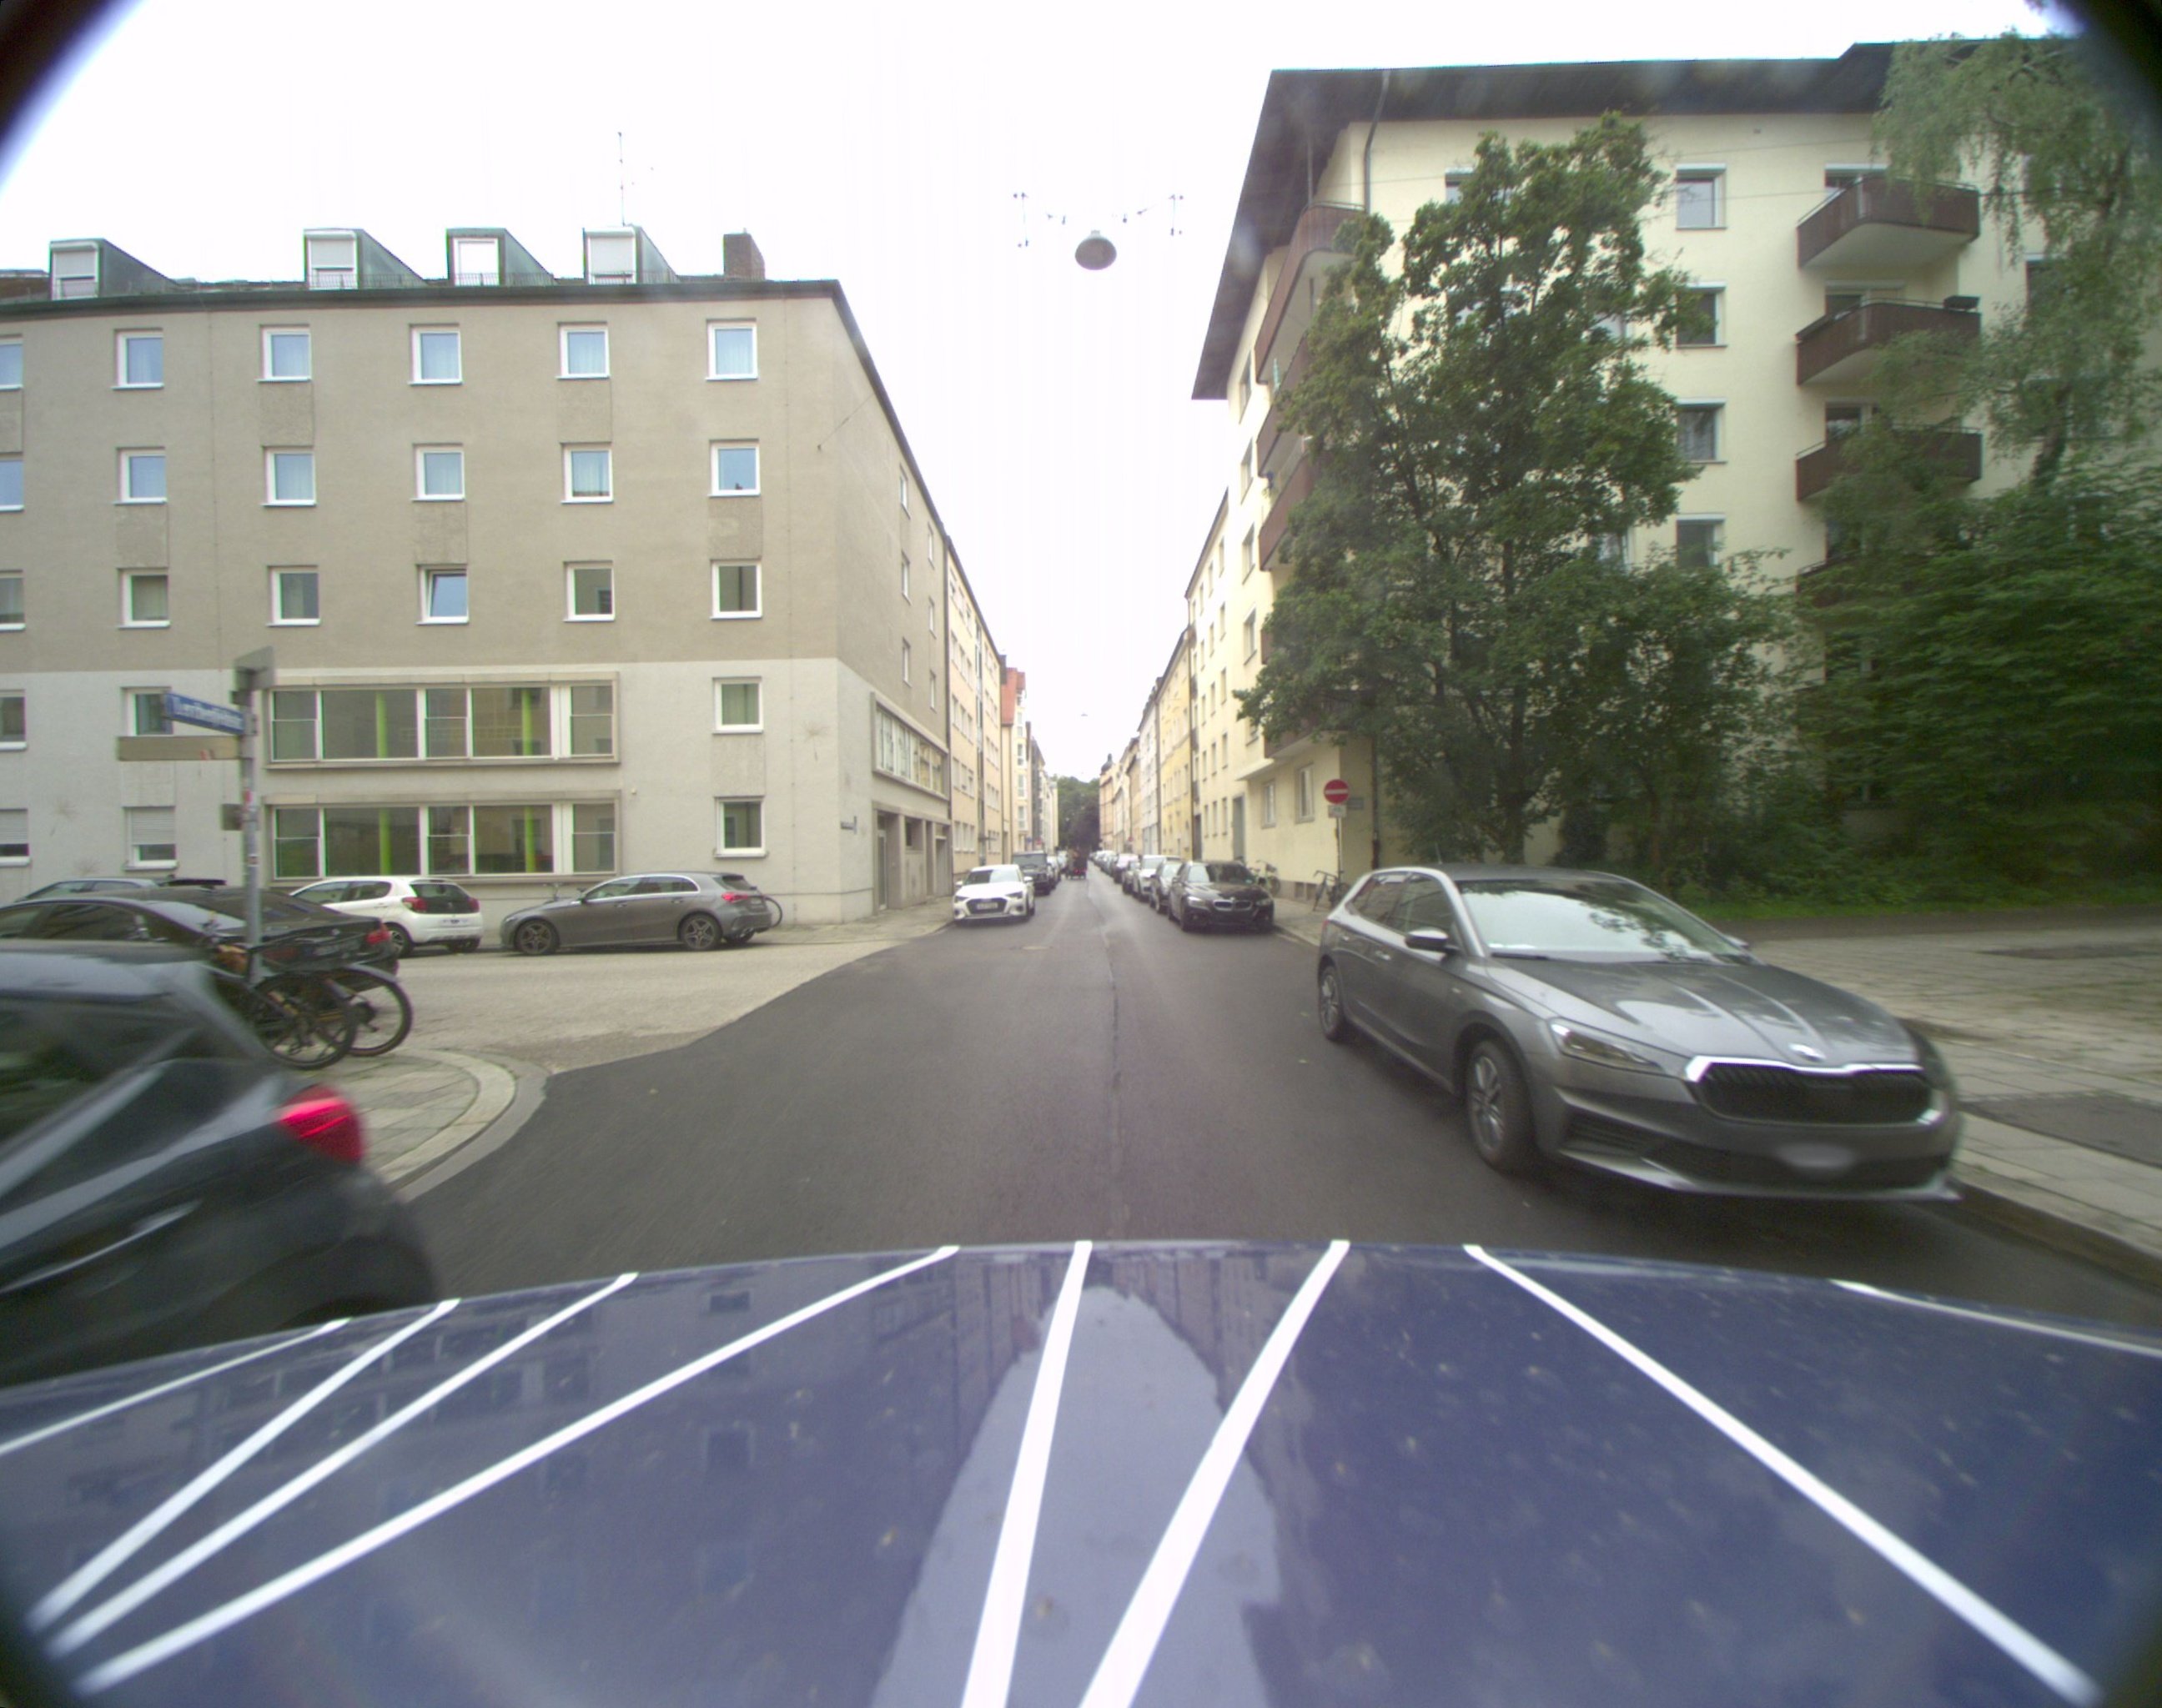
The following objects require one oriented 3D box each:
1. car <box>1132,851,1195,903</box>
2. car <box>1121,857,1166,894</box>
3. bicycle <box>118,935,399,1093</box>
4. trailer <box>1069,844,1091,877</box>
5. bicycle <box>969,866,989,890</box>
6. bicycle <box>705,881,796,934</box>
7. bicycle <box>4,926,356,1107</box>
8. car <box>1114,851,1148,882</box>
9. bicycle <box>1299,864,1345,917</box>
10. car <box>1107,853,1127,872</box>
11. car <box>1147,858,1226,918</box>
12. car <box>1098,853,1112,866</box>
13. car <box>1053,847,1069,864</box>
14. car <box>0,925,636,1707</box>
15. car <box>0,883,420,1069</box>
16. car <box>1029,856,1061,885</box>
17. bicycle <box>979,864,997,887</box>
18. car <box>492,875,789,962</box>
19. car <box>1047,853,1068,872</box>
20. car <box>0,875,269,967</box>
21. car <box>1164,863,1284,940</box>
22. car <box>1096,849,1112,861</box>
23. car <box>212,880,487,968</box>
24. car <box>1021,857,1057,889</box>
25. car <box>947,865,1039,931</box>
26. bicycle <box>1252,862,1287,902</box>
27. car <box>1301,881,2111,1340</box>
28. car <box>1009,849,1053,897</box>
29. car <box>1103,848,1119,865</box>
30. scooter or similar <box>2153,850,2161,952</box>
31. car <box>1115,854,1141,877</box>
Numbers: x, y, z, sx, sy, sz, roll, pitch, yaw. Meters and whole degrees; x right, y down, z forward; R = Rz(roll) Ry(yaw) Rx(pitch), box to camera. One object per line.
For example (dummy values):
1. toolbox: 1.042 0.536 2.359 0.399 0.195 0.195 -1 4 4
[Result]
1. car: 2.858 0.761 27.221 1.770 1.666 4.366 0 1 0
2. car: 2.624 0.892 32.708 1.656 1.427 3.802 0 1 1
3. bicycle: -6.268 1.204 5.825 1.717 1.132 0.374 0 -1 0
4. trailer: -0.078 0.428 51.424 1.359 2.104 3.316 -2 1 -2
5. bicycle: -4.797 1.135 35.824 0.646 1.023 1.796 3 1 0
6. bicycle: -7.442 1.196 17.147 1.801 1.109 0.465 -2 1 0
7. bicycle: -6.271 1.112 5.343 1.813 1.167 0.505 0 -1 -1
8. car: 2.906 0.696 44.822 1.883 1.650 4.415 0 1 2
9. bicycle: 5.755 0.846 18.235 0.536 1.155 1.789 1 1 1
10. car: 2.881 0.666 60.819 1.566 1.452 3.404 0 1 2
11. car: 2.901 0.883 21.736 1.770 1.475 4.424 0 1 2
12. car: 2.844 0.637 90.592 1.676 1.467 4.112 1 1 1
13. car: -2.471 0.198 95.845 1.878 2.002 5.105 -2 1 -1
14. car: -2.481 1.030 0.507 1.755 1.460 4.342 -4 0 -1
15. car: -9.389 1.114 7.449 4.223 1.485 1.711 -1 1 -1
16. car: -2.095 0.931 45.191 1.716 1.477 4.243 -2 1 -2
17. bicycle: -4.779 1.100 39.144 0.656 1.099 1.760 3 1 0
18. car: -7.817 1.117 13.841 4.215 1.391 2.000 -1 -1 -2
19. car: -2.071 0.676 65.573 1.721 1.463 4.530 -2 1 -2
20. car: -17.398 1.202 13.642 3.675 1.517 1.567 0 -4 -6
21. car: 2.924 0.918 16.466 1.860 1.400 4.383 0 0 1
22. car: 2.960 0.108 99.307 1.786 1.596 4.307 1 0 -3
23. car: -12.971 1.237 13.633 3.353 1.426 1.568 -1 -4 0
24. car: -2.142 0.955 39.780 1.716 1.477 4.243 -2 1 -2
25. car: -2.152 1.045 19.641 1.823 1.400 3.952 -2 0 0
26. bicycle: 5.821 0.838 23.507 0.647 1.155 1.789 1 1 1
27. car: 2.711 0.949 4.587 1.697 1.434 3.942 0 0 1
28. car: -2.226 0.837 34.857 1.755 1.964 4.342 -3 0 -2
29. car: 3.381 0.237 84.915 1.728 1.779 4.248 1 2 2
30. scooter or similar: 12.757 0.543 8.186 0.321 1.195 1.571 -1 0 6
31. car: 3.063 0.729 50.064 1.566 1.452 3.475 0 1 2
